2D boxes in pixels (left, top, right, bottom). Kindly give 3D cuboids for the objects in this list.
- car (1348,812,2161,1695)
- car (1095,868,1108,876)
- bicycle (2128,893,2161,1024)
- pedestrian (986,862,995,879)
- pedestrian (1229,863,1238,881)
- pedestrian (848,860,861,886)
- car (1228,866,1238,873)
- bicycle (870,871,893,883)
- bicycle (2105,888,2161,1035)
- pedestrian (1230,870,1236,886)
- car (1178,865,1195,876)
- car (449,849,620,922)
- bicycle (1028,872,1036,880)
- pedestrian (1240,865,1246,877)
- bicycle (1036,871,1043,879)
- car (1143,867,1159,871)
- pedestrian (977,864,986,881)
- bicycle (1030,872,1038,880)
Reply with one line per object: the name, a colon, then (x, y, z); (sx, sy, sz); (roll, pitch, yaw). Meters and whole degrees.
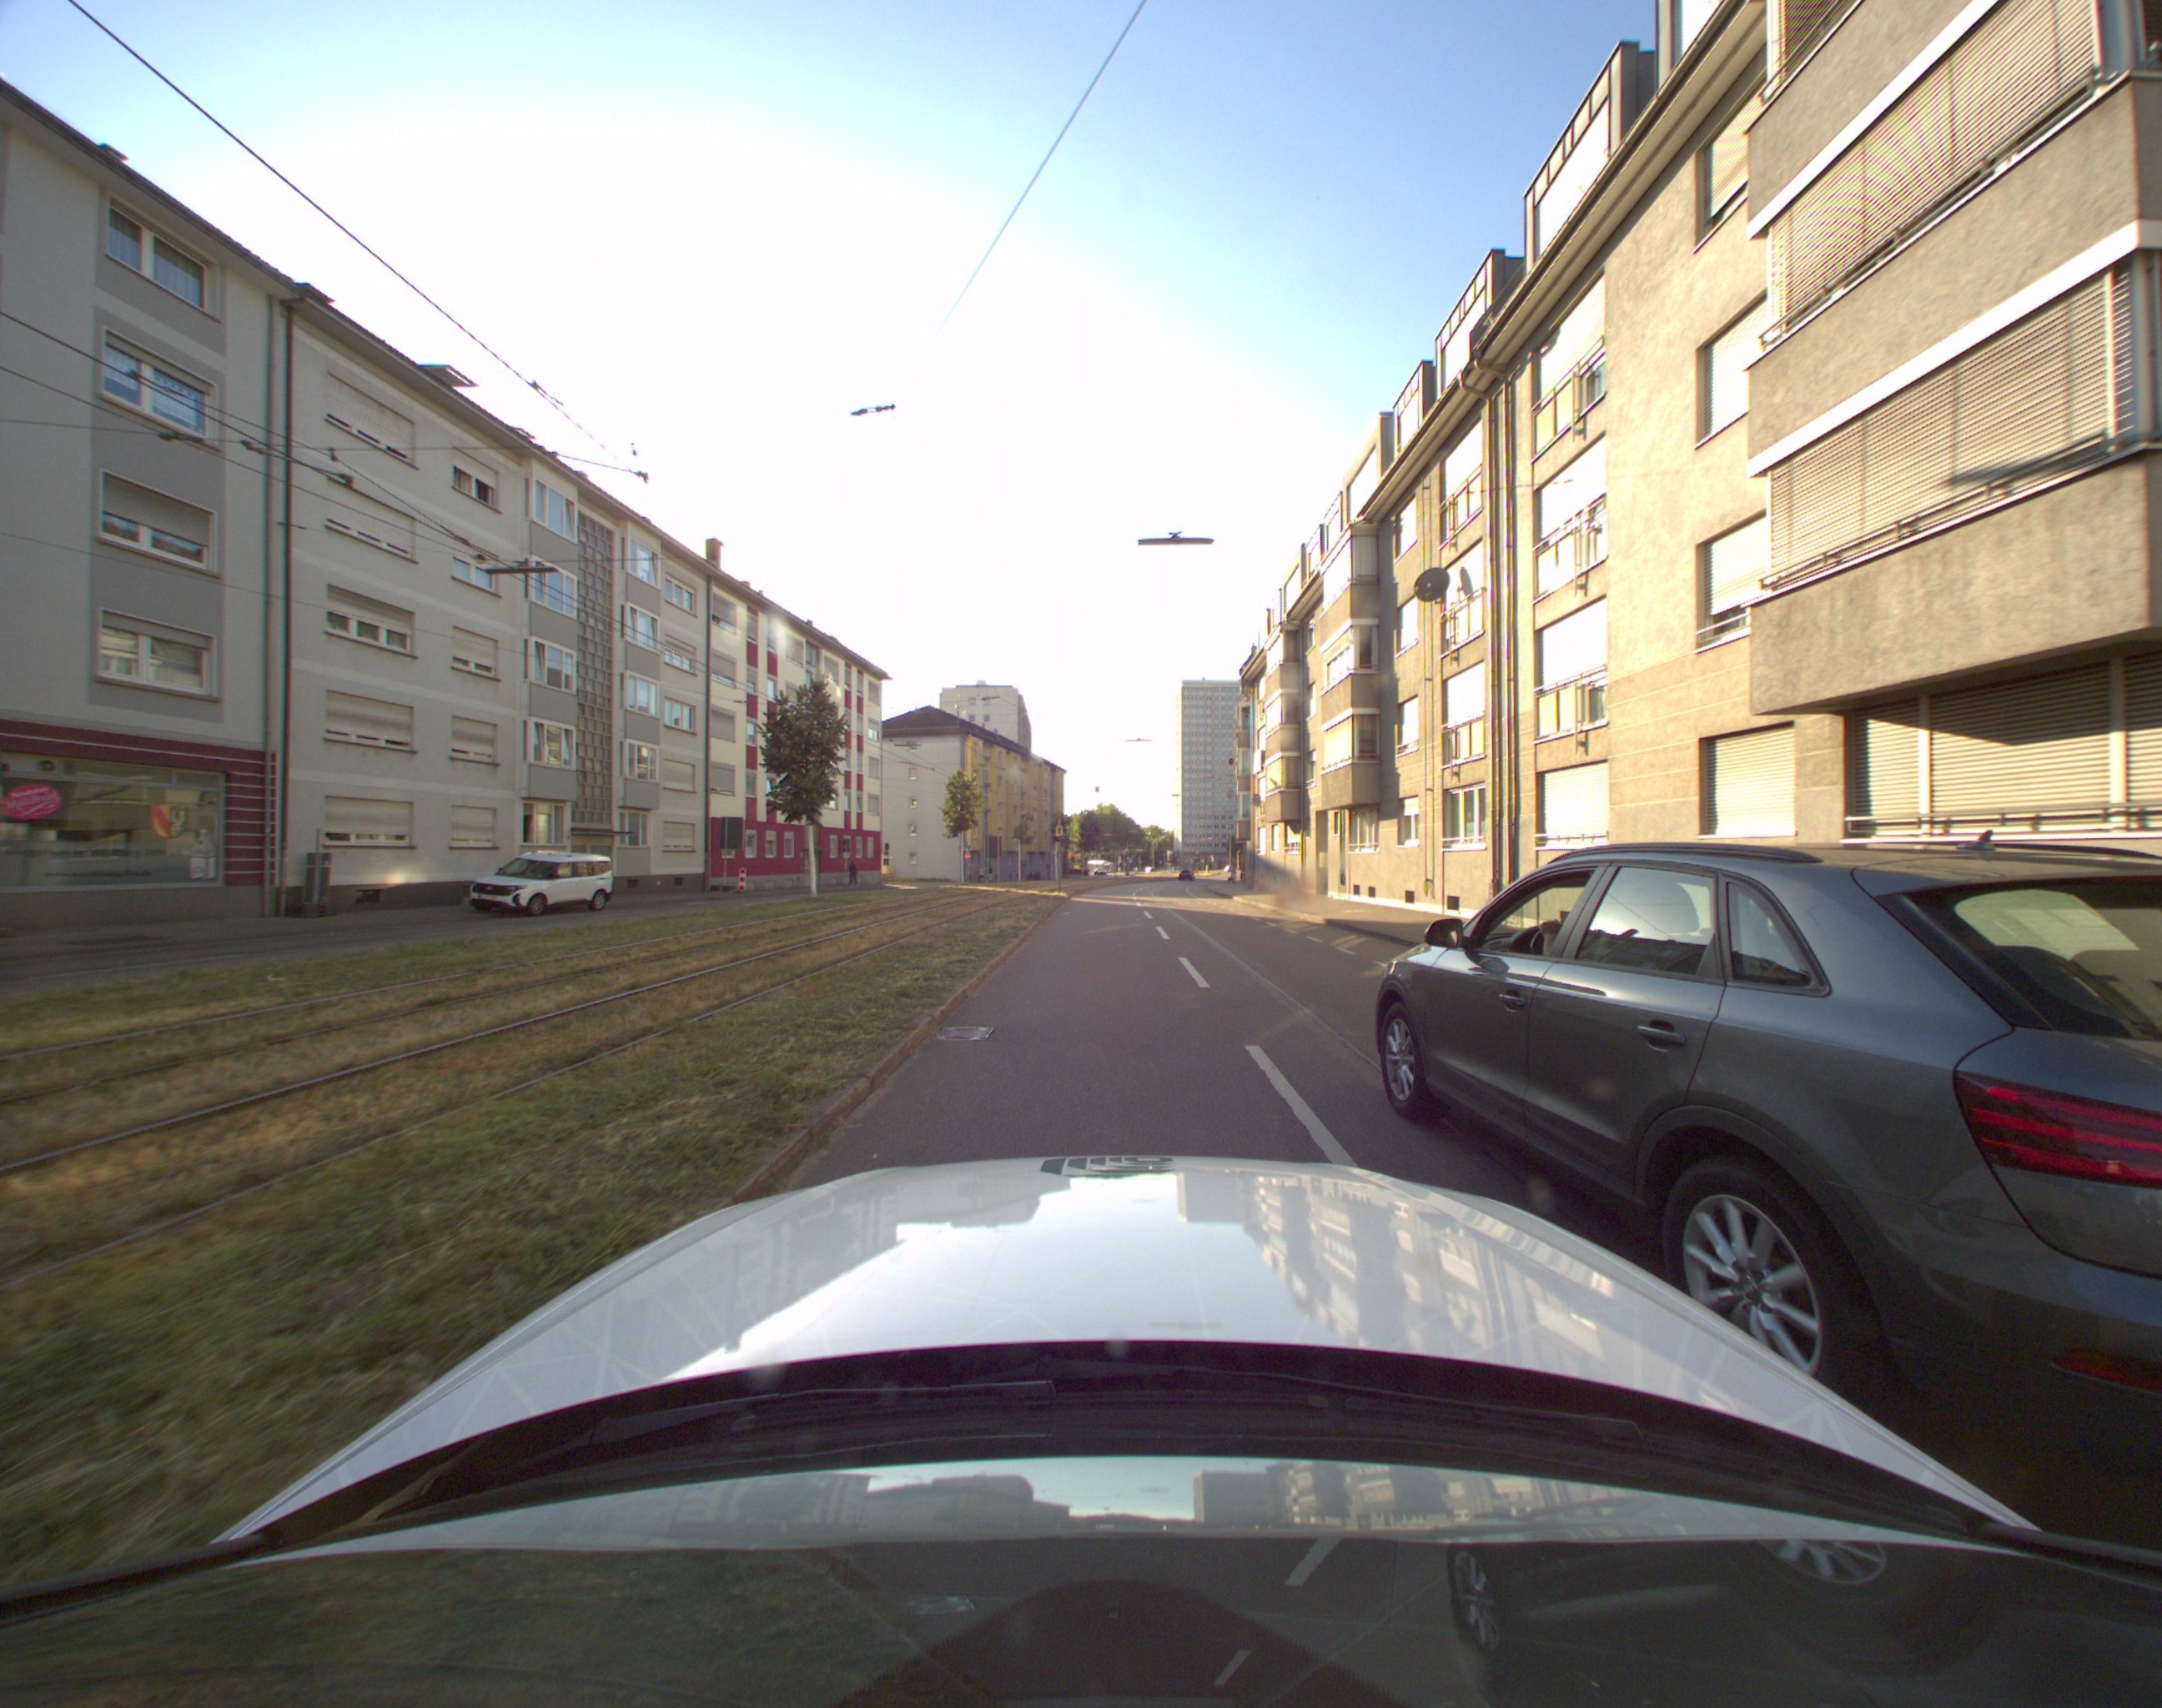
car: (2.665, 0.712, 3.503); (1.760, 1.587, 4.069); (-1, 0, 1)
car: (4.292, 3.742, 167.629); (1.782, 1.469, 4.810); (-3, -2, 11)
bicycle: (8.316, 0.796, 5.481); (0.277, 0.971, 1.730); (-4, 0, 1)
pedestrian: (-9.241, 1.683, 83.234); (0.589, 1.773, 0.888); (4, 0, 12)
pedestrian: (15.186, 1.760, 81.231); (0.824, 1.772, 0.999); (-1, -1, 12)
pedestrian: (-15.247, 1.269, 54.880); (0.610, 1.689, 0.793); (0, -1, 7)
car: (33.973, 3.528, 181.990); (1.979, 1.530, 4.015); (-1, -1, 14)
bicycle: (-18.271, 2.111, 74.663); (1.952, 1.076, 0.602); (0, -1, -5)
bicycle: (7.965, 0.784, 5.311); (0.358, 1.032, 1.730); (-4, 0, 1)
pedestrian: (12.863, 2.046, 68.951); (0.511, 1.344, 0.610); (-2, -2, 8)
car: (13.842, 2.147, 106.387); (1.759, 1.422, 3.870); (-1, -1, 14)
car: (-16.602, 0.899, 25.082); (1.858, 1.829, 4.427); (6, 0, 4)
bicycle: (-6.050, 2.716, 100.824); (0.424, 0.925, 1.919); (3, 0, 14)
pedestrian: (16.032, 1.683, 80.652); (0.583, 1.251, 0.586); (-1, -1, 12)
bicycle: (-5.343, 2.693, 104.537); (0.424, 0.960, 1.919); (-1, -1, 14)
car: (19.116, 4.099, 222.936); (3.875, 1.288, 1.849); (-1, -1, -13)
pedestrian: (-10.150, 1.884, 83.075); (0.612, 1.694, 0.708); (4, 0, 12)
bicycle: (-5.902, 2.714, 102.098); (0.424, 0.925, 1.919); (3, 0, 14)
